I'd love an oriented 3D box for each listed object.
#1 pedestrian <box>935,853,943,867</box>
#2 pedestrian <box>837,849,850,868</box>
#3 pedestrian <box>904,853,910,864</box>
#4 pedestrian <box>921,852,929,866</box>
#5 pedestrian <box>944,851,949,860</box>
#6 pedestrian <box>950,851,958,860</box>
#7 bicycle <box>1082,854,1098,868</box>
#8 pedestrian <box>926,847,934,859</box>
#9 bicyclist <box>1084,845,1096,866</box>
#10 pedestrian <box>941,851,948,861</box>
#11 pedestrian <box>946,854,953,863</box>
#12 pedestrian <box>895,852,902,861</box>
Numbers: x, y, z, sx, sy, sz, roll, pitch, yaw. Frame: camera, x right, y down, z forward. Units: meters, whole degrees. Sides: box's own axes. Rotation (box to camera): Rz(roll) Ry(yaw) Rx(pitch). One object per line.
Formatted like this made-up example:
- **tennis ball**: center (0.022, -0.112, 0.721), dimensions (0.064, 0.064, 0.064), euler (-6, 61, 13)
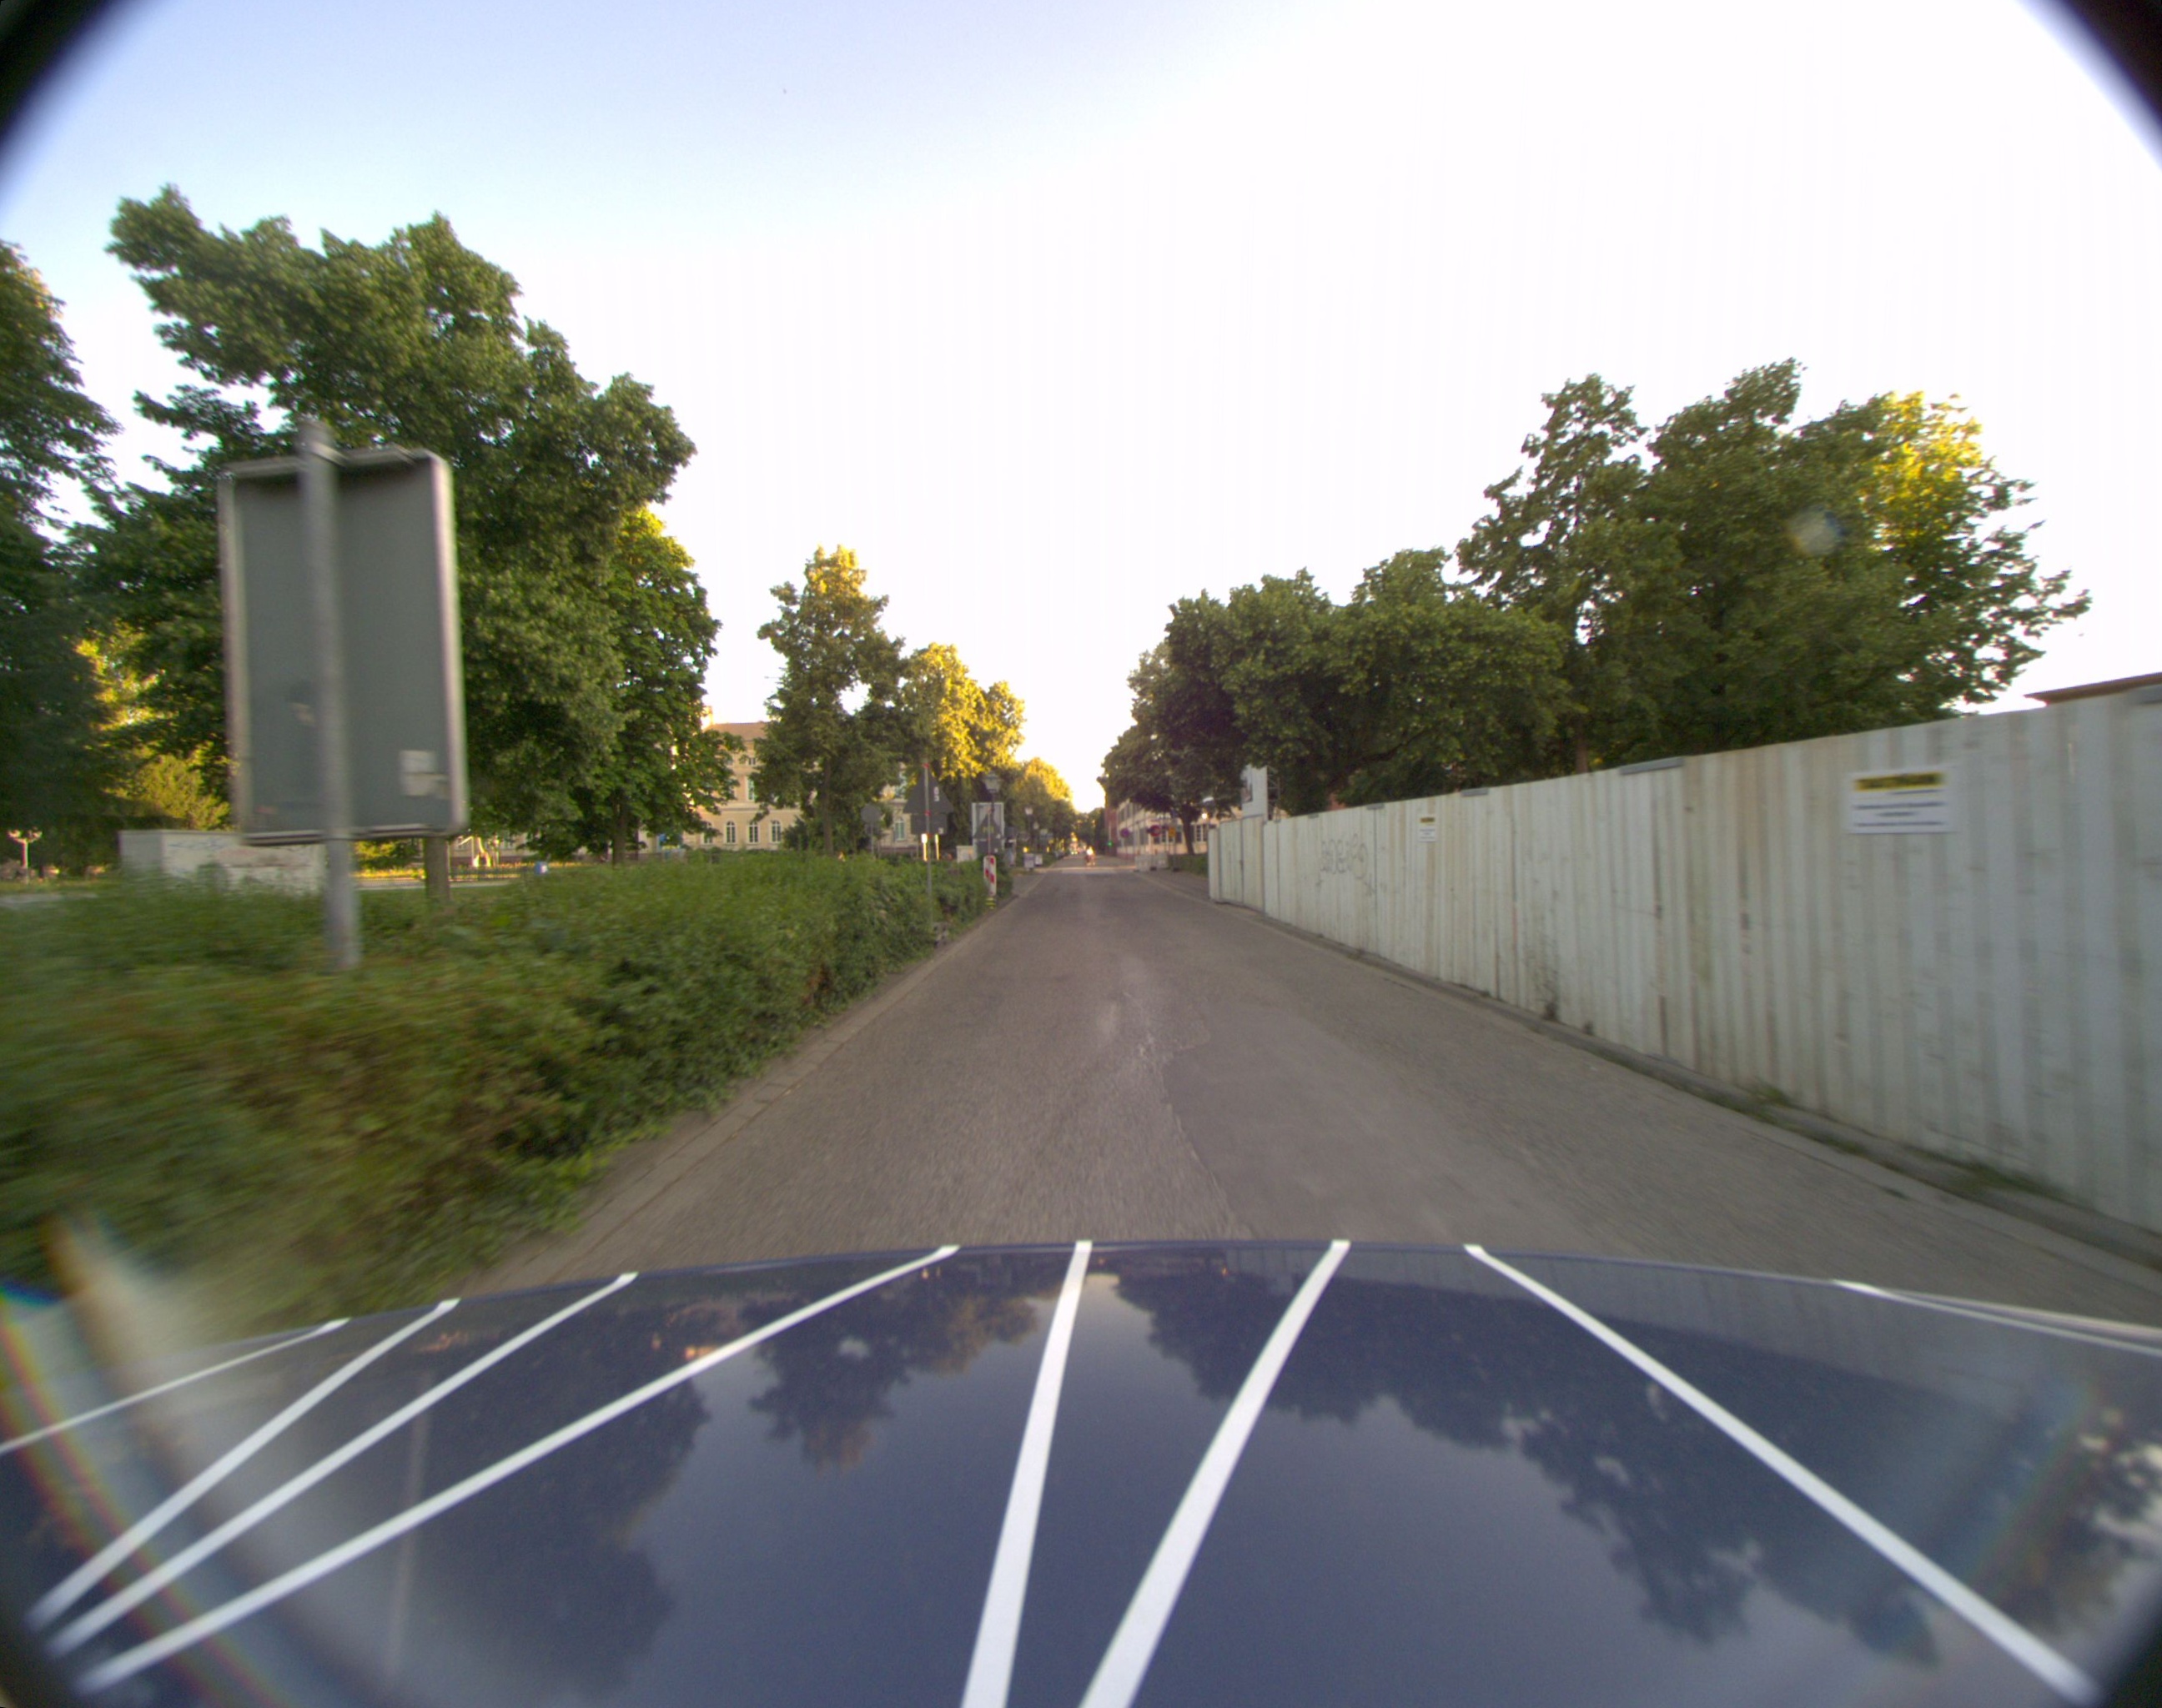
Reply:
- **pedestrian**: center (-12.358, 0.491, 66.011), dimensions (0.608, 1.197, 0.666), euler (-1, 1, -6)
- **pedestrian**: center (-19.941, 0.376, 63.899), dimensions (0.859, 1.617, 0.757), euler (-1, 1, -4)
- **pedestrian**: center (-19.817, 0.478, 86.591), dimensions (0.605, 1.195, 0.394), euler (-2, 1, -41)
- **pedestrian**: center (-13.516, 0.433, 65.757), dimensions (0.528, 1.197, 0.970), euler (-1, 1, -6)
- **pedestrian**: center (-15.733, 0.127, 88.955), dimensions (0.396, 1.044, 0.602), euler (-1, 1, -31)
- **pedestrian**: center (-14.827, 0.169, 88.477), dimensions (0.798, 1.044, 0.394), euler (-1, 1, -36)
- **bicycle**: center (0.754, 0.571, 64.402), dimensions (0.654, 1.175, 2.341), euler (-1, 1, -17)
- **pedestrian**: center (-19.064, -0.139, 96.033), dimensions (0.754, 1.435, 0.816), euler (-2, 1, -35)
- **bicyclist**: center (0.731, 0.142, 64.443), dimensions (0.673, 1.793, 1.058), euler (-2, 1, -17)
- **pedestrian**: center (-15.816, 0.237, 88.051), dimensions (0.605, 1.044, 0.394), euler (-1, 1, -33)
- **pedestrian**: center (-15.182, 0.522, 87.689), dimensions (0.605, 1.044, 0.394), euler (-2, 1, -37)
- **pedestrian**: center (-20.663, 0.277, 85.935), dimensions (0.394, 1.102, 0.605), euler (0, 1, 45)
